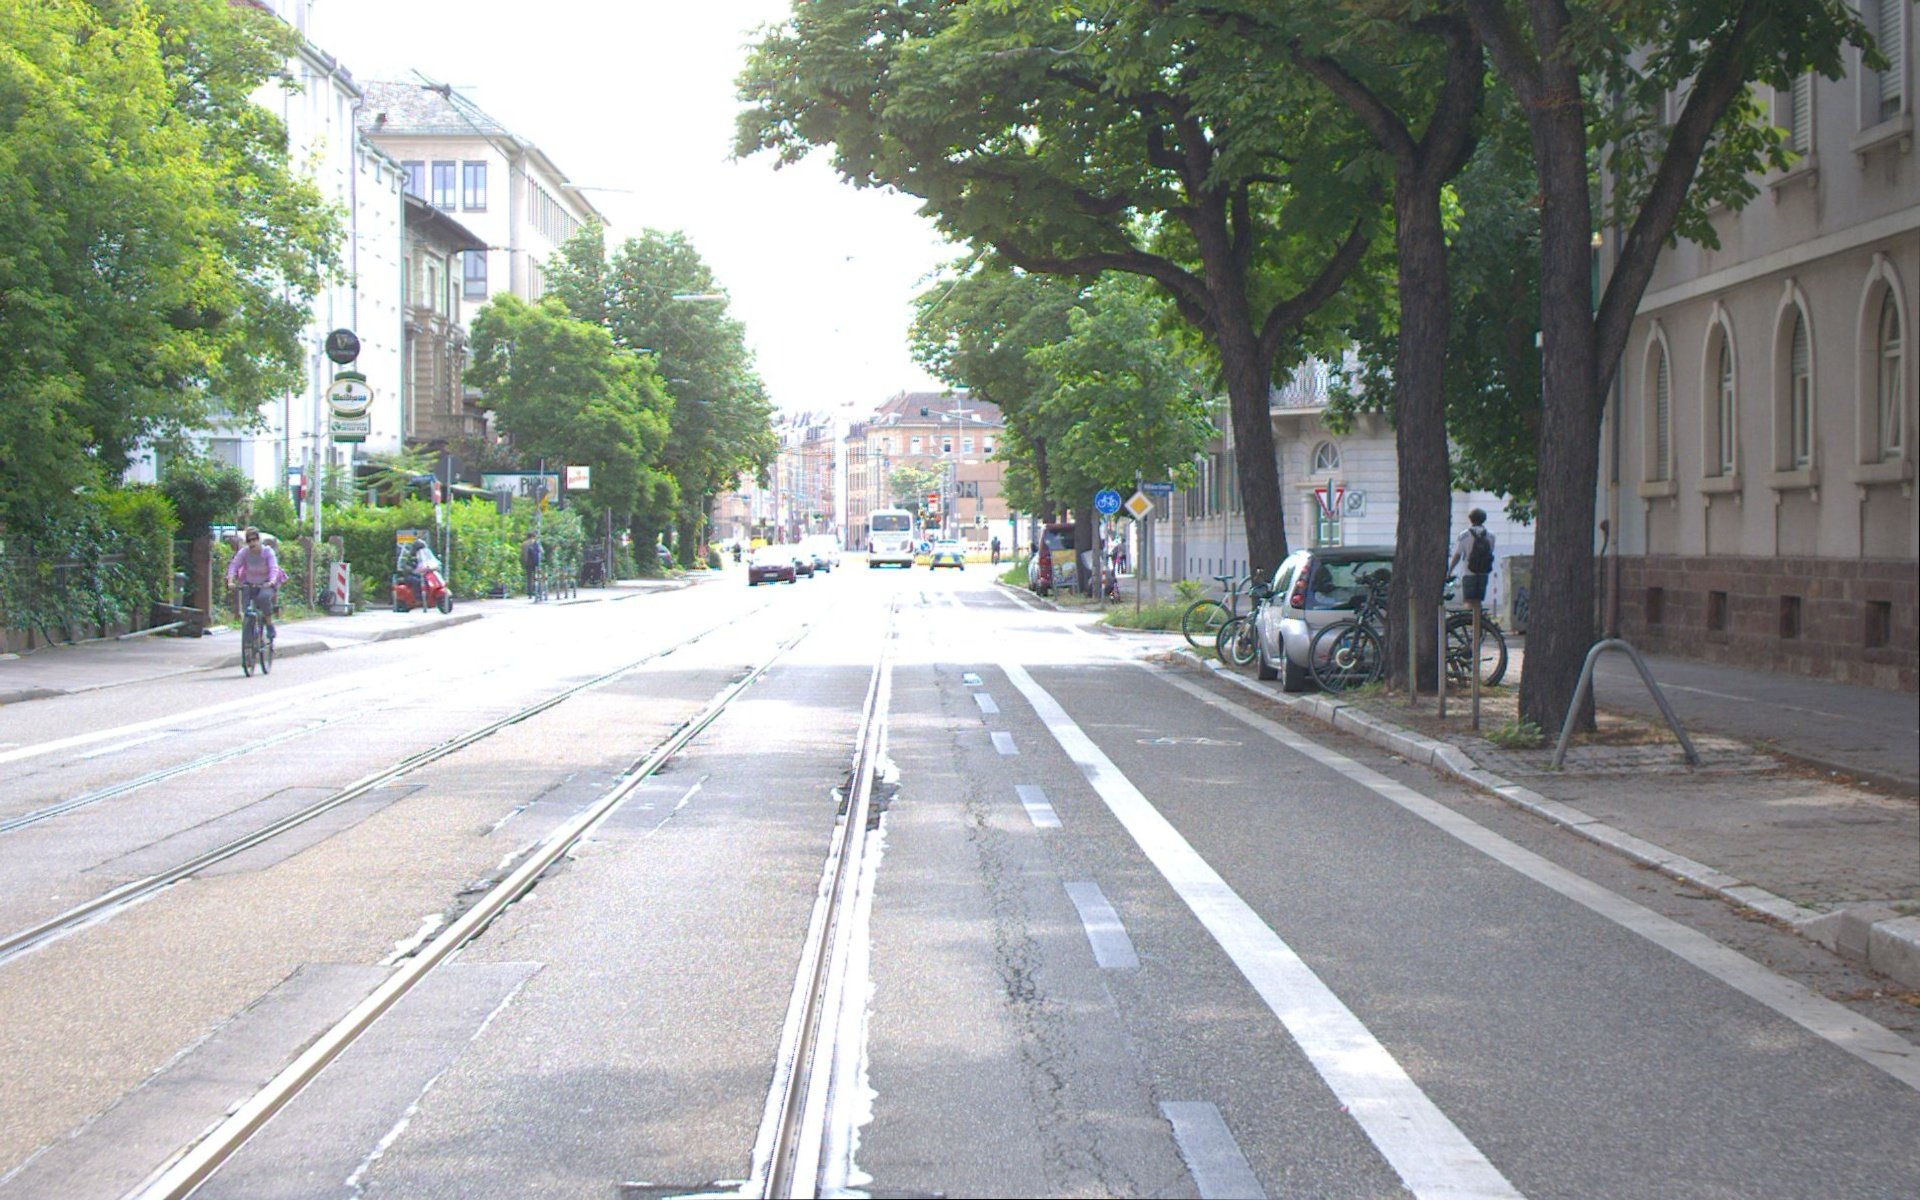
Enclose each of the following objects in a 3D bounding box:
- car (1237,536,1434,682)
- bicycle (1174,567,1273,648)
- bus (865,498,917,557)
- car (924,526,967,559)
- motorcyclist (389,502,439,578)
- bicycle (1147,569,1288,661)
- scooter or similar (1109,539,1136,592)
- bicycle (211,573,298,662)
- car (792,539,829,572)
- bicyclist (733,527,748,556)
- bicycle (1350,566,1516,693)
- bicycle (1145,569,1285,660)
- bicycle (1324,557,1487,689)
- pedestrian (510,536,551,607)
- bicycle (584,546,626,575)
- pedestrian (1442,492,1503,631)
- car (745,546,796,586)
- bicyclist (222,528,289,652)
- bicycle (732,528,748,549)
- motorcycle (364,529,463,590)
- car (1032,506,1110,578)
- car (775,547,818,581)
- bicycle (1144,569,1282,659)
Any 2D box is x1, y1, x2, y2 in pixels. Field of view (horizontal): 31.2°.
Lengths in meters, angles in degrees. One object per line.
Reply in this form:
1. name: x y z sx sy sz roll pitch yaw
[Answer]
1. car: 3.903 0.054 36.252 1.585 1.440 3.898 0 1 -1
2. bicycle: 3.511 0.097 45.831 1.267 1.062 0.478 0 1 -1
3. bus: -4.066 -4.214 202.211 2.917 3.317 12.207 1 1 -1
4. car: -0.779 -3.080 183.674 2.130 1.678 4.103 1 2 -2
5. motorcyclist: -12.281 -1.346 77.388 0.918 1.708 0.741 0 1 10
6. bicycle: 3.034 0.175 40.564 1.647 1.067 0.348 0 1 3
7. scooter or similar: 3.903 -0.830 82.675 0.532 1.247 1.720 -1 1 0
8. bicycle: -8.176 0.194 39.909 0.569 0.986 1.918 0 1 1
9. car: -7.208 -2.147 166.331 1.727 1.535 4.277 -1 1 -2
10. bicyclist: -11.901 -3.165 186.364 0.599 1.487 0.882 -6 1 2
11. bicycle: 4.332 0.267 31.532 1.488 1.149 0.518 0 1 6
12. bicycle: 3.030 0.167 40.933 1.647 1.067 0.348 0 1 3
13. bicycle: 4.157 0.210 32.141 1.488 1.216 0.518 0 0 6
14. pedestrian: -11.678 -0.781 93.570 1.059 1.911 0.829 0 1 -3
15. bicycle: -12.312 -1.374 119.261 1.142 0.905 2.989 3 1 -1
16. pedestrian: 6.847 -0.518 45.937 0.617 1.827 1.031 0 1 -2
17. car: -7.131 -1.281 129.611 1.594 1.435 3.936 -1 1 1
18. bicyclist: -8.178 -0.122 39.943 0.564 1.420 0.942 0 1 1
19. bicycle: -11.918 -3.347 186.412 0.602 1.093 2.023 -6 1 2
20. motorcycle: -12.302 -0.911 77.397 2.082 1.355 0.741 0 1 10
21. car: 3.028 -1.605 94.905 1.895 1.934 4.951 0 1 -1
22. car: -6.863 -1.519 144.541 1.628 1.402 4.130 0 1 -1
23. bicycle: 3.039 0.166 41.371 1.647 1.067 0.348 0 1 3
